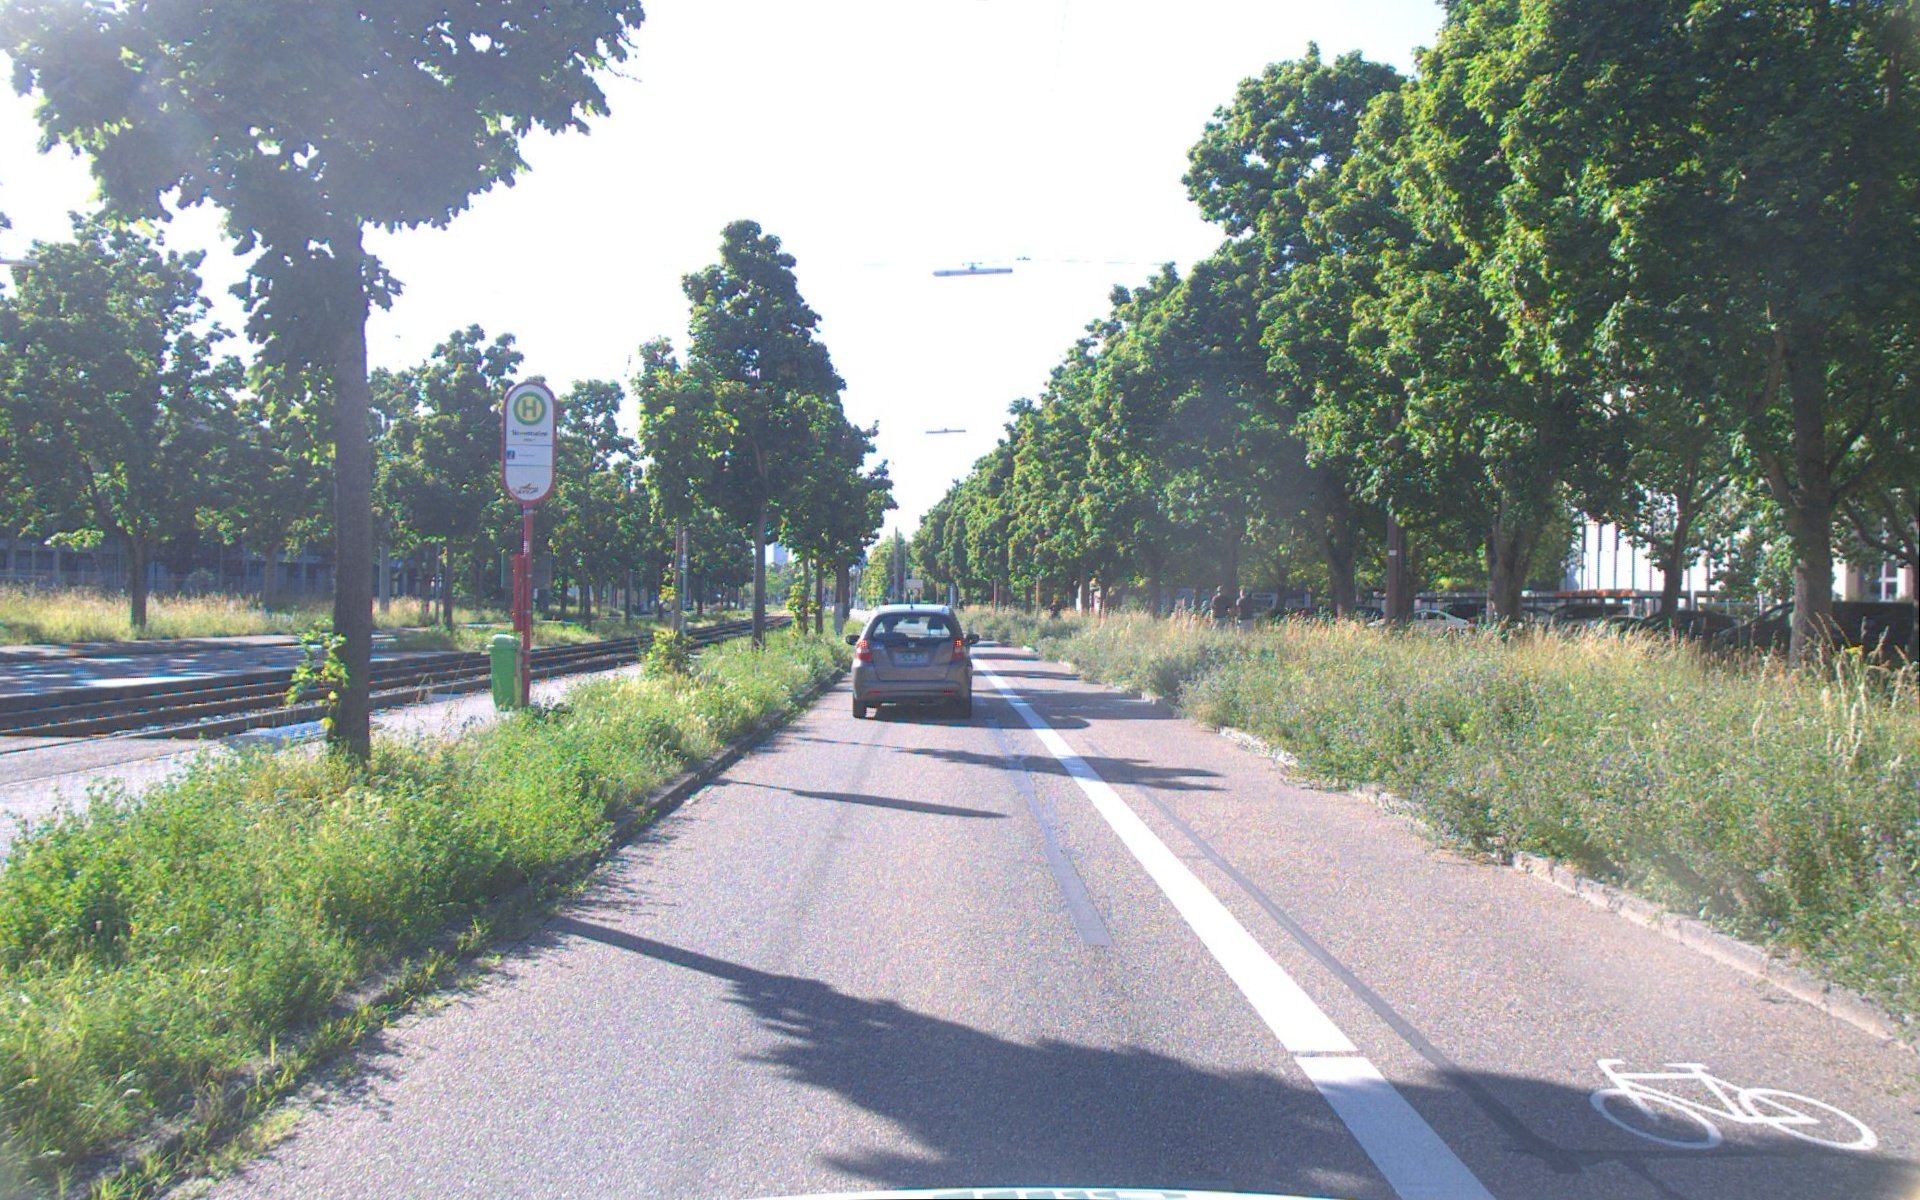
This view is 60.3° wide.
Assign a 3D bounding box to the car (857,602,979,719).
[{"bbox_3d":[-0.635,0.802,23.569,1.592,1.526,3.455,-1,0,-3],"label":"car"}]

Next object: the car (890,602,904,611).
[{"bbox_3d":[-9.957,0.999,261.359,1.741,1.411,3.862,0,0,-9],"label":"car"}]

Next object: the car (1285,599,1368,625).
[{"bbox_3d":[20.079,0.644,90.733,4.203,1.347,1.941,0,1,2],"label":"car"}]

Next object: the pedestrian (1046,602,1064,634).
[{"bbox_3d":[4.788,0.900,83.116,0.807,1.596,0.762,1,-1,-2],"label":"pedestrian"}]

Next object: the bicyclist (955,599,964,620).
[{"bbox_3d":[-0.071,0.790,141.463,0.670,1.750,0.901,1,-1,-6],"label":"bicyclist"}]

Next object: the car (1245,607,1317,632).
[{"bbox_3d":[19.855,1.226,102.342,4.079,1.457,1.824,1,0,0],"label":"car"}]

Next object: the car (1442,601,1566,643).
[{"bbox_3d":[20.586,0.815,62.612,4.156,1.562,1.761,0,0,-12],"label":"car"}]

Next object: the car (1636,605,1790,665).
[{"bbox_3d":[22.251,1.016,48.913,3.906,1.667,1.718,1,0,35],"label":"car"}]

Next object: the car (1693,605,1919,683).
[{"bbox_3d":[21.440,1.058,41.358,1.905,1.782,5.367,1,0,-44],"label":"car"}]

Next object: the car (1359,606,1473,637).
[{"bbox_3d":[20.488,0.967,74.374,4.606,1.293,1.806,0,1,-6],"label":"car"}]

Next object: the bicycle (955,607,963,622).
[{"bbox_3d":[-0.084,1.224,141.576,0.473,1.226,2.141,1,-2,-5],"label":"bicycle"}]

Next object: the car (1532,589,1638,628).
[{"bbox_3d":[31.606,0.420,83.698,4.654,1.984,1.973,0,0,-4],"label":"car"}]

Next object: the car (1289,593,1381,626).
[{"bbox_3d":[19.395,0.487,85.670,4.307,1.624,1.881,0,0,-6],"label":"car"}]

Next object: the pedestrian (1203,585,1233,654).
[{"bbox_3d":[7.369,0.549,47.201,0.693,1.951,0.816,1,-1,-1],"label":"pedestrian"}]

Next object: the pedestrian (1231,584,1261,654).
[{"bbox_3d":[8.170,0.537,47.259,0.693,1.964,0.816,1,-1,-1],"label":"pedestrian"}]
